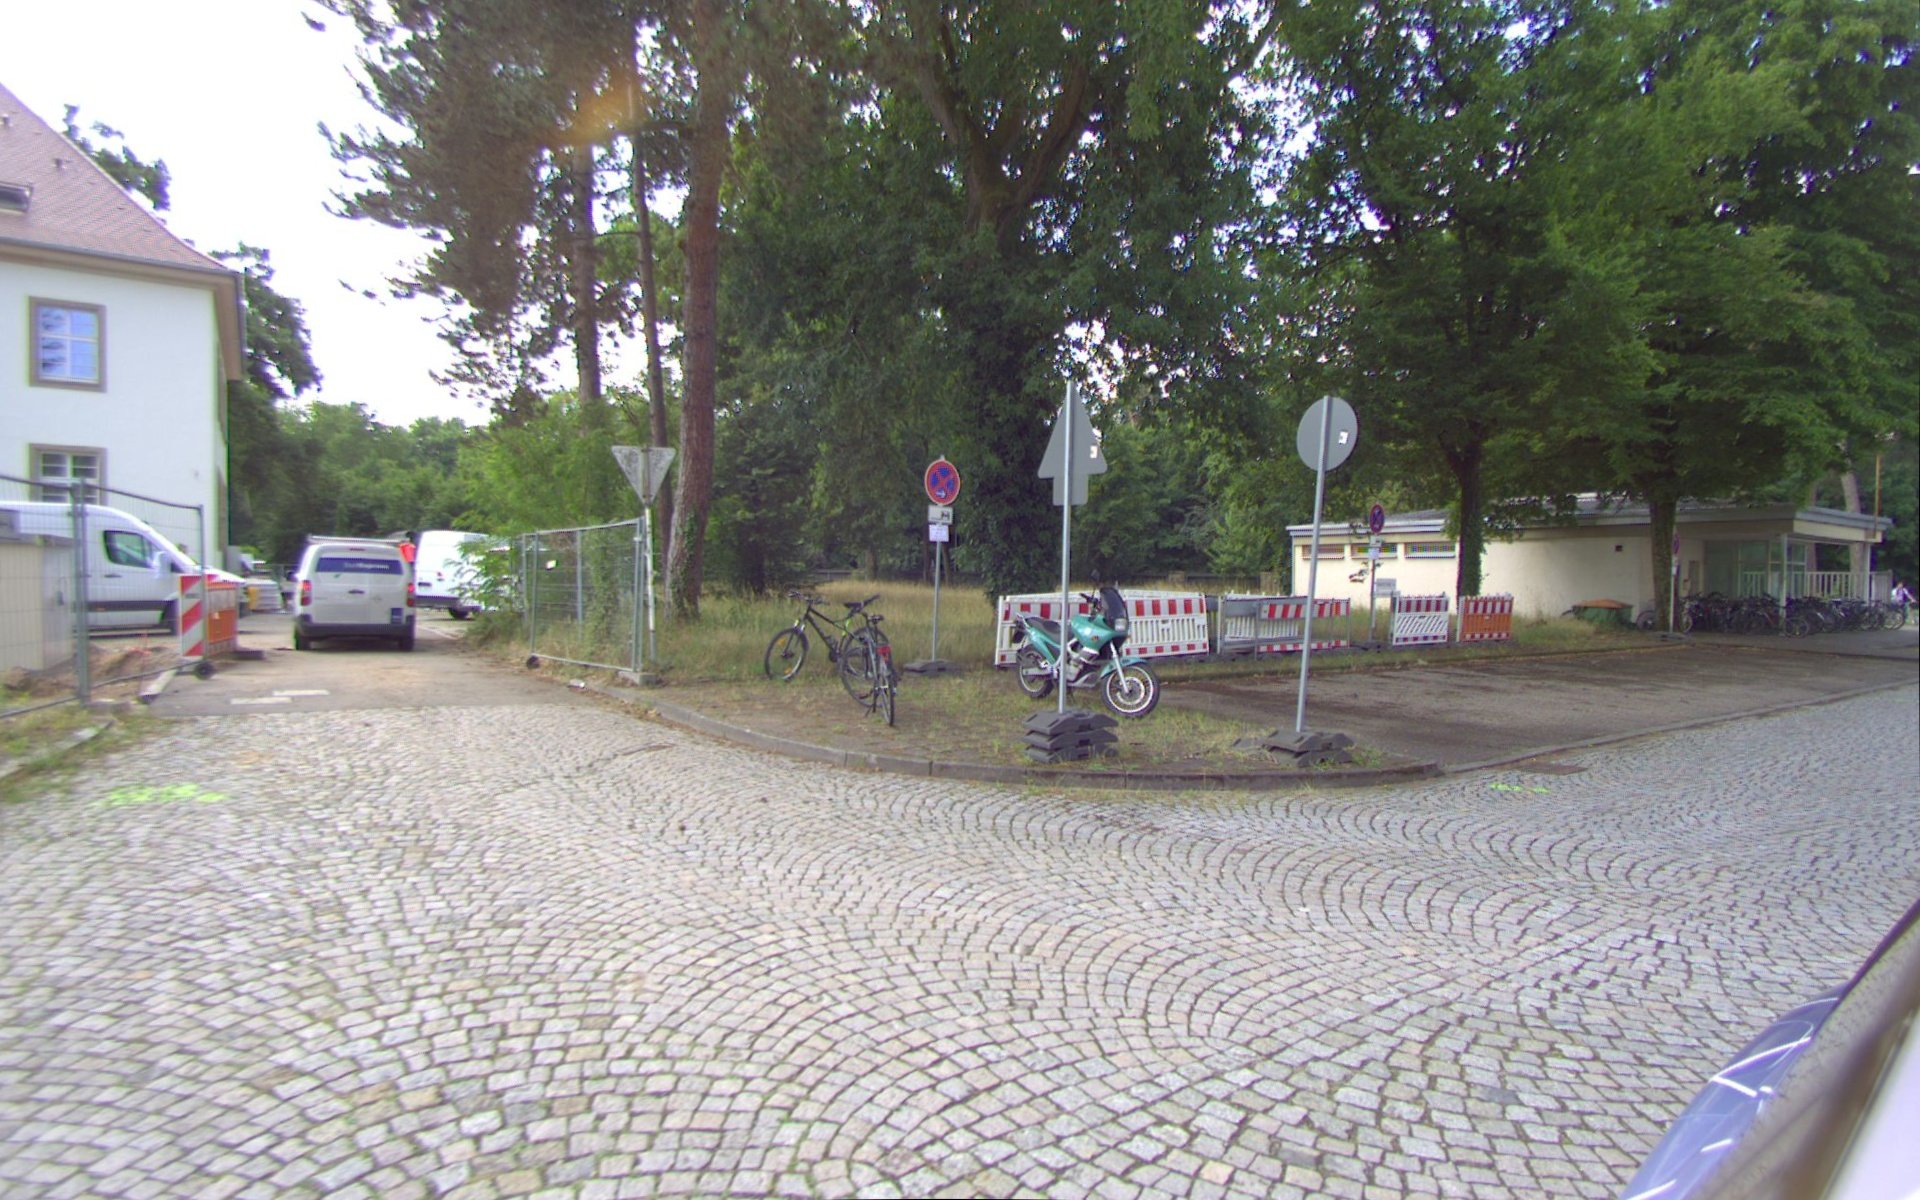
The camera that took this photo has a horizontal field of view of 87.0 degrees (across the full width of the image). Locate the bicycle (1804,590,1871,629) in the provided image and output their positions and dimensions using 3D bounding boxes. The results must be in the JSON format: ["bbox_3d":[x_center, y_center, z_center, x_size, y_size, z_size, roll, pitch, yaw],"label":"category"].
[{"bbox_3d":[28.716,0.298,33.143,0.320,1.155,1.593,0,3,-43],"label":"bicycle"}]

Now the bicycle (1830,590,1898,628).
[{"bbox_3d":[30.072,0.292,33.690,0.320,1.155,1.615,0,3,-43],"label":"bicycle"}]

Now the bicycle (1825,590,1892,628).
[{"bbox_3d":[29.736,0.296,33.510,0.320,1.155,1.615,0,3,-43],"label":"bicycle"}]

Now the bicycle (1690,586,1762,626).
[{"bbox_3d":[24.806,0.174,32.788,0.597,1.179,1.745,0,3,-40],"label":"bicycle"}]

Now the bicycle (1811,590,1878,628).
[{"bbox_3d":[29.267,0.290,33.505,0.320,1.155,1.615,0,3,-43],"label":"bicycle"}]

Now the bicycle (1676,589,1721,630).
[{"bbox_3d":[21.374,0.266,29.279,1.605,1.130,0.598,0,2,-37],"label":"bicycle"}]

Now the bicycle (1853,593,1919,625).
[{"bbox_3d":[32.297,0.309,35.275,1.725,1.059,0.452,1,1,16],"label":"bicycle"}]

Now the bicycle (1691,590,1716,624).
[{"bbox_3d":[25.152,0.234,34.215,0.478,1.089,1.655,3,3,42],"label":"bicycle"}]

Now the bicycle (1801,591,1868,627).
[{"bbox_3d":[28.410,0.274,32.908,0.320,1.063,1.593,0,3,-43],"label":"bicycle"}]

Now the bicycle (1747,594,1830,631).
[{"bbox_3d":[24.773,0.359,30.282,1.728,0.988,0.753,3,2,24],"label":"bicycle"}]

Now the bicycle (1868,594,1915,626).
[{"bbox_3d":[31.660,0.327,34.406,1.145,1.076,0.283,1,1,34],"label":"bicycle"}]

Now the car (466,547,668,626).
[{"bbox_3d":[-10.006,-0.327,26.204,1.980,1.848,4.829,-1,0,27],"label":"car"}]

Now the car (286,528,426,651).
[{"bbox_3d":[-11.226,-0.211,18.641,1.870,1.945,4.876,1,1,-35],"label":"car"}]

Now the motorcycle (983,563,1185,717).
[{"bbox_3d":[1.294,0.360,11.100,0.743,1.503,2.281,0,2,-40],"label":"motorcycle"}]

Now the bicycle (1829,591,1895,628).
[{"bbox_3d":[30.357,0.297,34.073,0.350,1.155,1.615,0,3,-43],"label":"bicycle"}]

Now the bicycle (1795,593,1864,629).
[{"bbox_3d":[27.970,0.346,32.585,1.628,1.063,0.329,3,3,40],"label":"bicycle"}]

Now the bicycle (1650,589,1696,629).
[{"bbox_3d":[20.985,0.248,29.775,1.605,1.130,0.598,0,2,-37],"label":"bicycle"}]

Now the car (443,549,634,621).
[{"bbox_3d":[-11.654,-0.397,28.370,1.980,1.848,4.829,-1,0,27],"label":"car"}]

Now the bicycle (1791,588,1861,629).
[{"bbox_3d":[27.515,0.249,32.166,1.629,1.204,0.491,4,3,42],"label":"bicycle"}]

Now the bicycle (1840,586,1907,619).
[{"bbox_3d":[32.329,0.088,35.817,1.715,1.146,0.472,1,1,15],"label":"bicycle"}]

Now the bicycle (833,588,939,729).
[{"bbox_3d":[-0.774,0.516,9.990,0.642,1.212,1.909,1,1,-17],"label":"bicycle"}]

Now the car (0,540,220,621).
[{"bbox_3d":[-21.105,-0.467,24.737,4.781,1.848,2.000,-1,0,-34],"label":"car"}]

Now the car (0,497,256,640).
[{"bbox_3d":[-17.221,-0.589,19.624,5.796,2.588,2.000,-1,0,-34],"label":"car"}]

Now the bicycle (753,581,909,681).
[{"bbox_3d":[-1.626,0.377,12.904,1.868,1.184,0.644,1,1,-34],"label":"bicycle"}]

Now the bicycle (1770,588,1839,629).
[{"bbox_3d":[26.679,0.258,31.979,1.629,1.204,0.413,4,3,42],"label":"bicycle"}]

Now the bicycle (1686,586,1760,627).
[{"bbox_3d":[24.187,0.184,32.103,0.597,1.179,1.745,0,3,-40],"label":"bicycle"}]

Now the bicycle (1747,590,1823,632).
[{"bbox_3d":[24.165,0.303,29.665,1.675,1.122,0.333,4,3,41],"label":"bicycle"}]

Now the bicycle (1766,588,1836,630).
[{"bbox_3d":[26.226,0.265,31.580,1.629,1.204,0.413,4,3,42],"label":"bicycle"}]

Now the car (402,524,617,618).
[{"bbox_3d":[-13.620,-0.825,31.190,1.978,2.610,6.370,-1,0,24],"label":"car"}]

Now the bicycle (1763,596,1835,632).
[{"bbox_3d":[25.434,0.412,30.709,1.618,0.988,0.320,3,2,25],"label":"bicycle"}]

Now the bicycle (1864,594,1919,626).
[{"bbox_3d":[31.959,0.322,34.689,1.393,1.059,0.336,1,1,28],"label":"bicycle"}]

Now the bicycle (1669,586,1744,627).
[{"bbox_3d":[23.298,0.196,31.612,0.597,1.179,1.745,0,3,-40],"label":"bicycle"}]

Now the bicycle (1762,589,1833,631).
[{"bbox_3d":[25.816,0.298,31.220,1.628,1.204,0.466,4,3,41],"label":"bicycle"}]
